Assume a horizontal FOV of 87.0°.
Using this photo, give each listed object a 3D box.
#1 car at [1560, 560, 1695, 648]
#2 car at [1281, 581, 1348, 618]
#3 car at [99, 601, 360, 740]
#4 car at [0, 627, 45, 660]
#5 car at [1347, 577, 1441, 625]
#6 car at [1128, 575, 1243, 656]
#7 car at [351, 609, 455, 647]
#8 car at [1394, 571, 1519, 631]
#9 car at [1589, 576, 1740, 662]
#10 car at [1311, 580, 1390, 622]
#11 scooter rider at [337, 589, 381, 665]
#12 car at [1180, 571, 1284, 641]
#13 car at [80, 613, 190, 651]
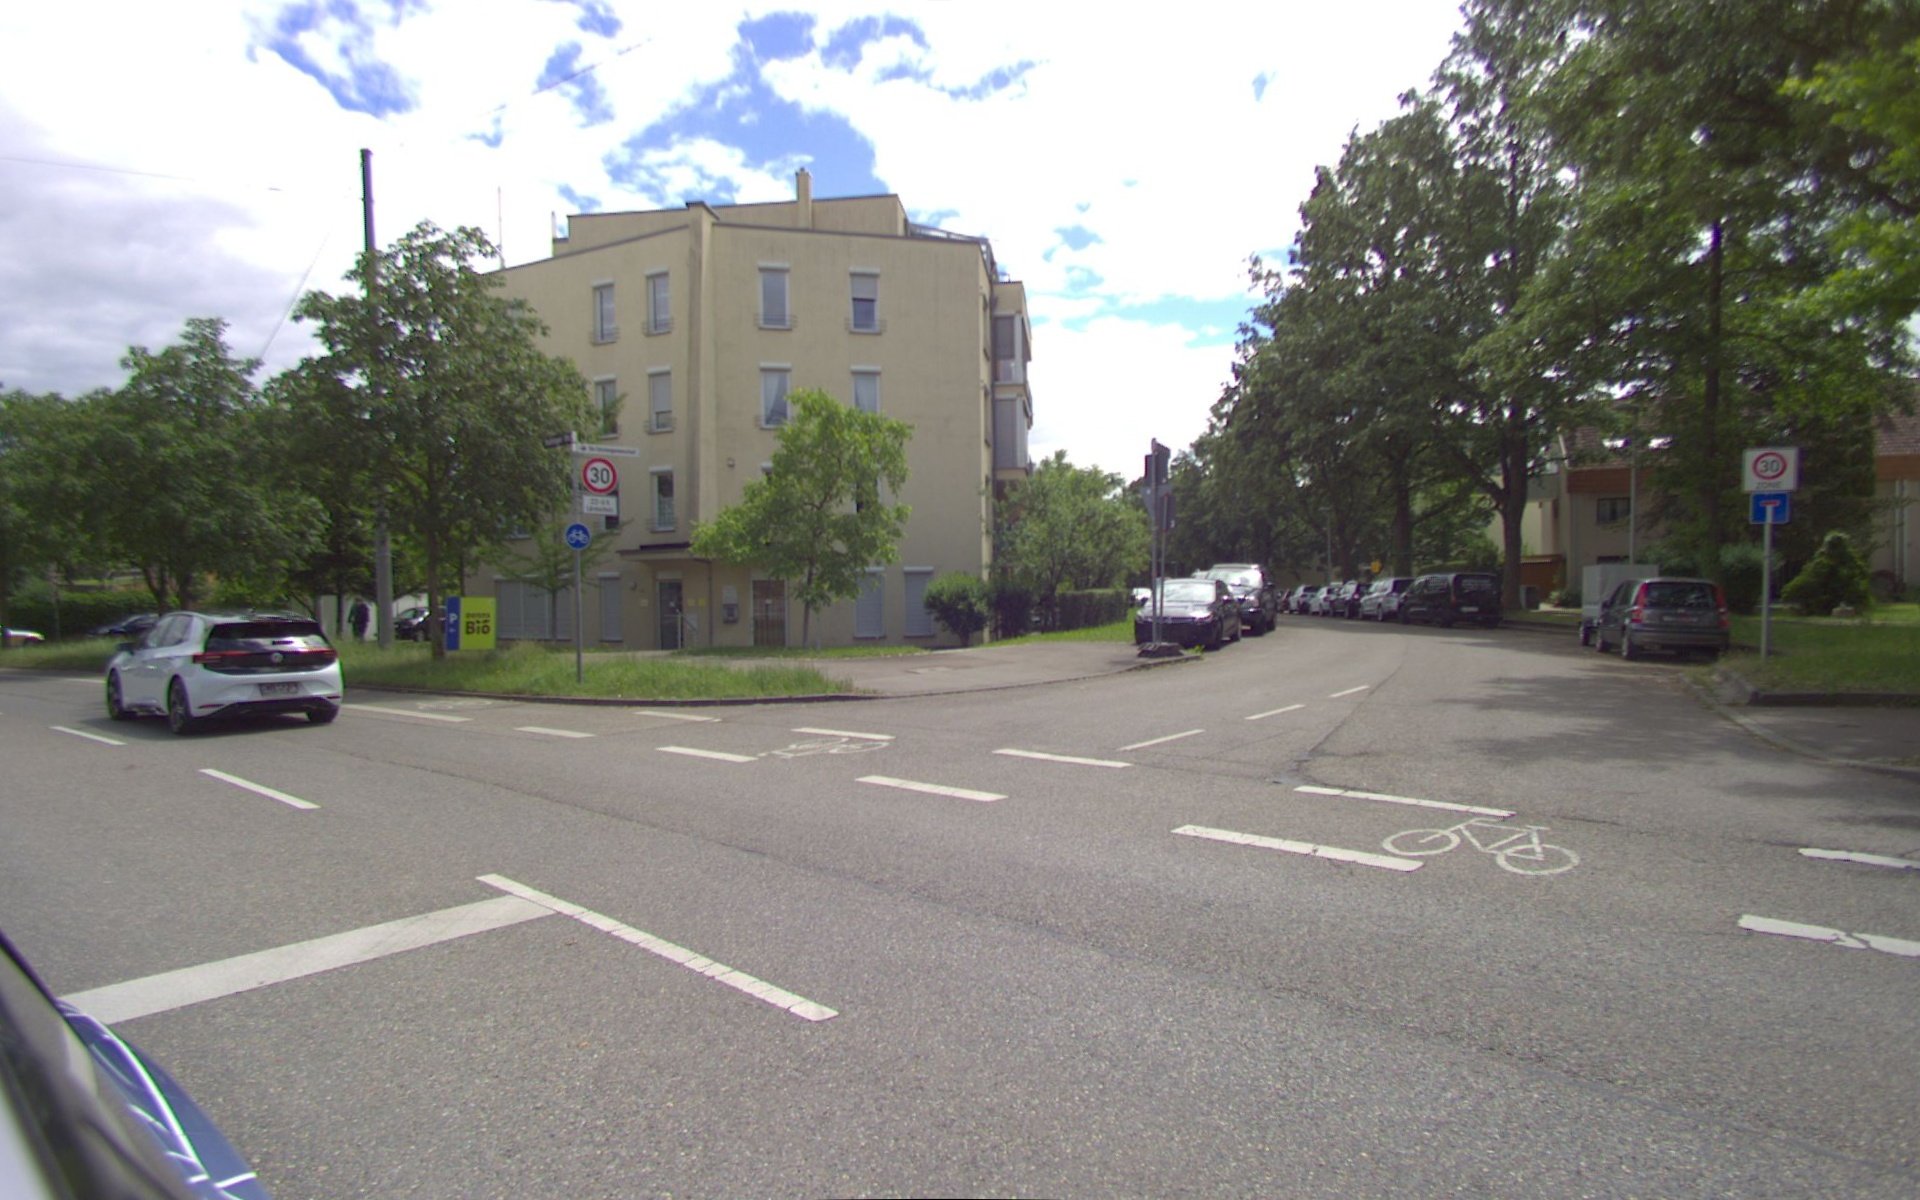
[{"bbox_3d":[15.345,0.142,23.486,1.834,1.858,3.969,-1,-2,23],"label":"car"},{"bbox_3d":[17.476,-0.035,50.141,1.969,1.716,4.271,-2,0,3],"label":"car"},{"bbox_3d":[-9.996,0.822,13.755,3.995,1.592,1.880,0,0,39],"label":"car"},{"bbox_3d":[-44.278,2.078,45.764,1.526,1.331,4.017,-1,3,22],"label":"car"},{"bbox_3d":[16.820,0.015,39.451,1.918,1.716,4.271,-2,0,3],"label":"car"},{"bbox_3d":[4.995,0.281,22.000,1.726,1.408,4.122,-1,3,23],"label":"car"},{"bbox_3d":[-22.725,1.132,41.474,1.772,1.431,3.992,-2,-1,6],"label":"car"},{"bbox_3d":[16.381,0.015,33.691,2.098,1.807,4.414,-2,0,3],"label":"car"},{"bbox_3d":[13.427,0.312,19.528,1.687,1.463,3.966,-2,0,25],"label":"car"},{"bbox_3d":[17.163,0.029,44.665,1.969,1.716,4.271,-2,0,3],"label":"car"},{"bbox_3d":[-16.567,0.722,27.913,0.793,2.028,0.671,-1,3,36],"label":"scooter rider"},{"bbox_3d":[7.331,0.074,26.930,2.088,1.615,4.756,0,3,23],"label":"car"},{"bbox_3d":[-41.212,1.571,50.646,1.712,1.694,3.936,-1,1,32],"label":"car"}]
